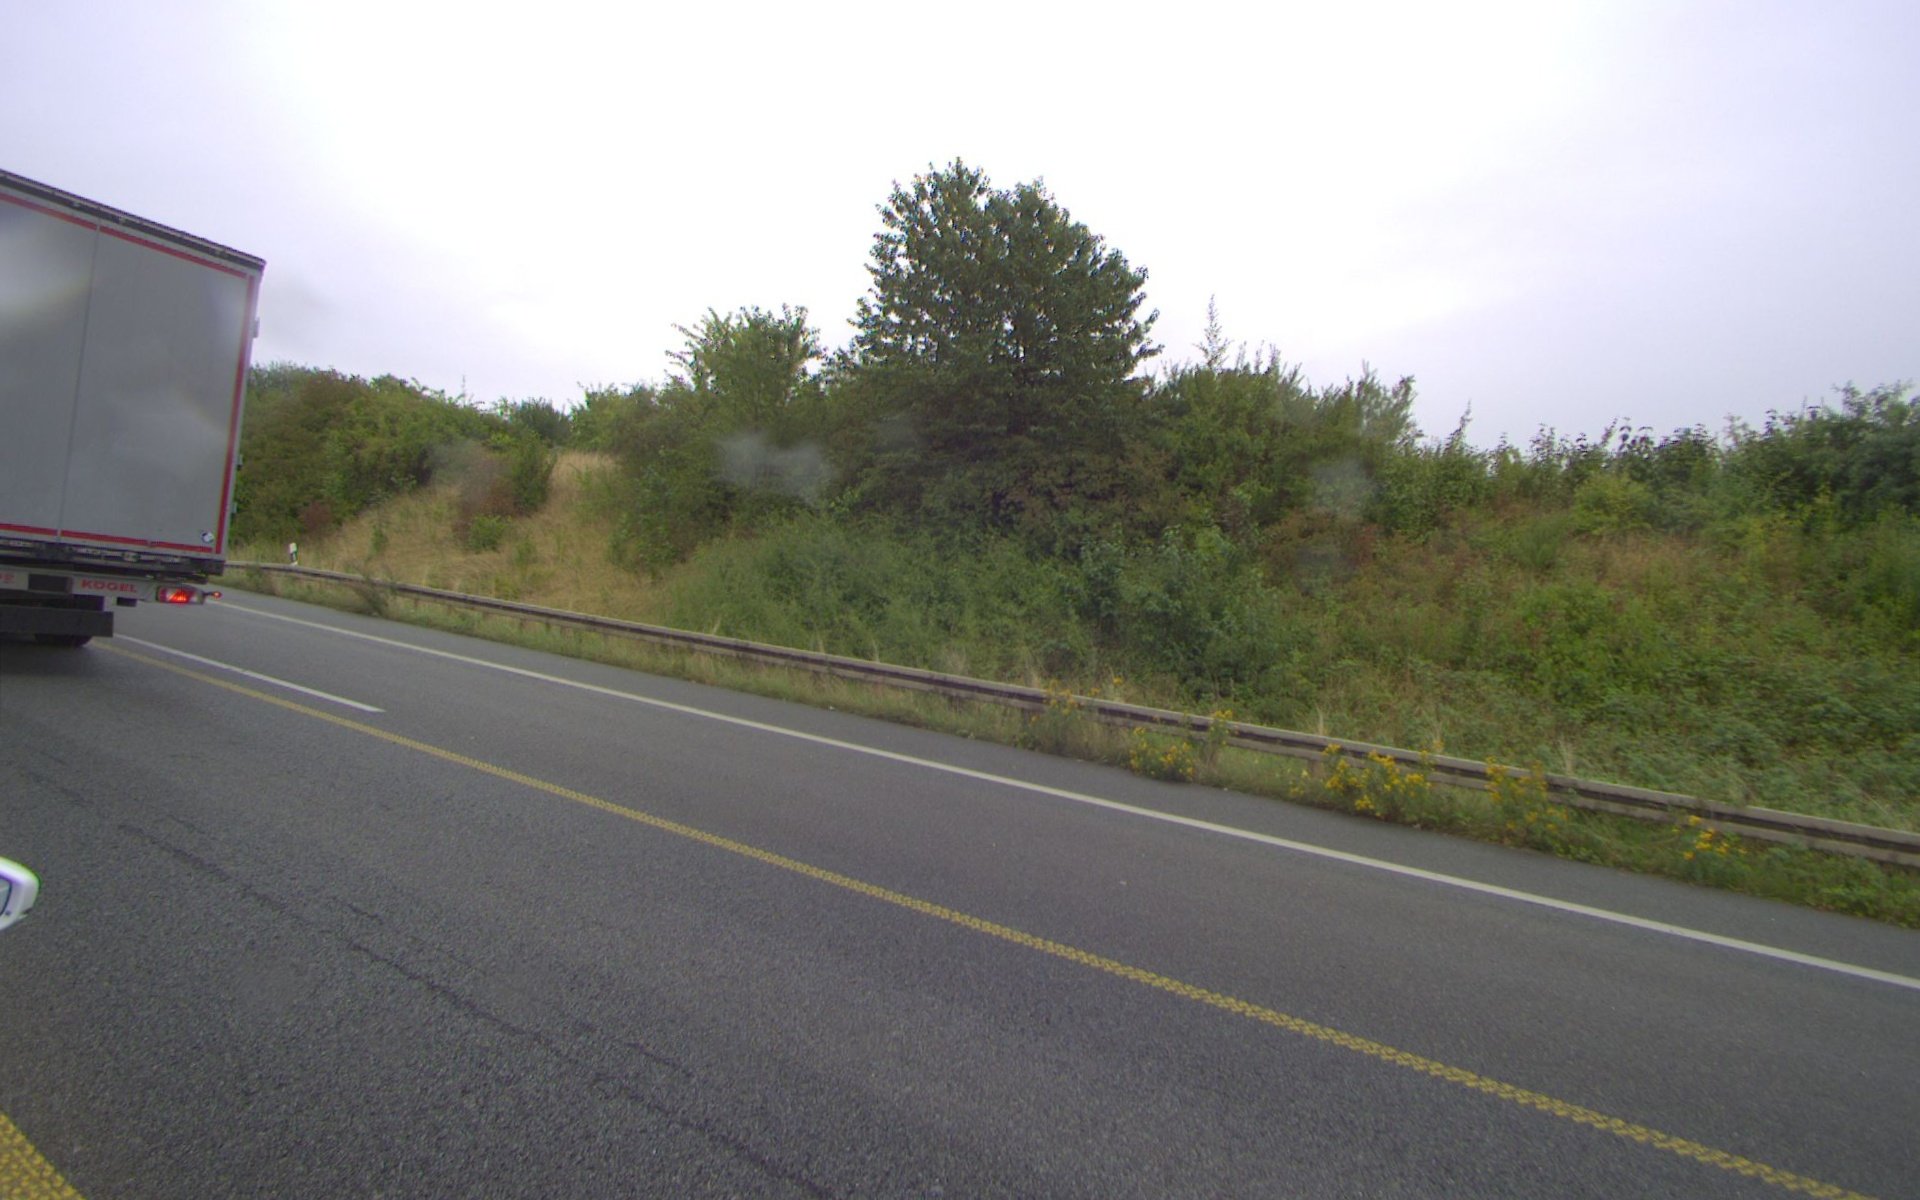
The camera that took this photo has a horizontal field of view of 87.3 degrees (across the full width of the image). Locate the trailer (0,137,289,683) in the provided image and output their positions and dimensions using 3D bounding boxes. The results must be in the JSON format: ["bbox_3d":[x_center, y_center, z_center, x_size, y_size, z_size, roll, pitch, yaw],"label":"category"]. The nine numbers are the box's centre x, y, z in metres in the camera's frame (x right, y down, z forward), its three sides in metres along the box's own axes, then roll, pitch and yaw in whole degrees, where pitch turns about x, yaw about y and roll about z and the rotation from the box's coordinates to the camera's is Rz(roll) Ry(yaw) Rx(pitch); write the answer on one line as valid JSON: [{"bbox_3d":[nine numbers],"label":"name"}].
[{"bbox_3d":[-12.980,-2.089,11.896,13.504,4.196,2.710,7,0,32],"label":"trailer"}]
